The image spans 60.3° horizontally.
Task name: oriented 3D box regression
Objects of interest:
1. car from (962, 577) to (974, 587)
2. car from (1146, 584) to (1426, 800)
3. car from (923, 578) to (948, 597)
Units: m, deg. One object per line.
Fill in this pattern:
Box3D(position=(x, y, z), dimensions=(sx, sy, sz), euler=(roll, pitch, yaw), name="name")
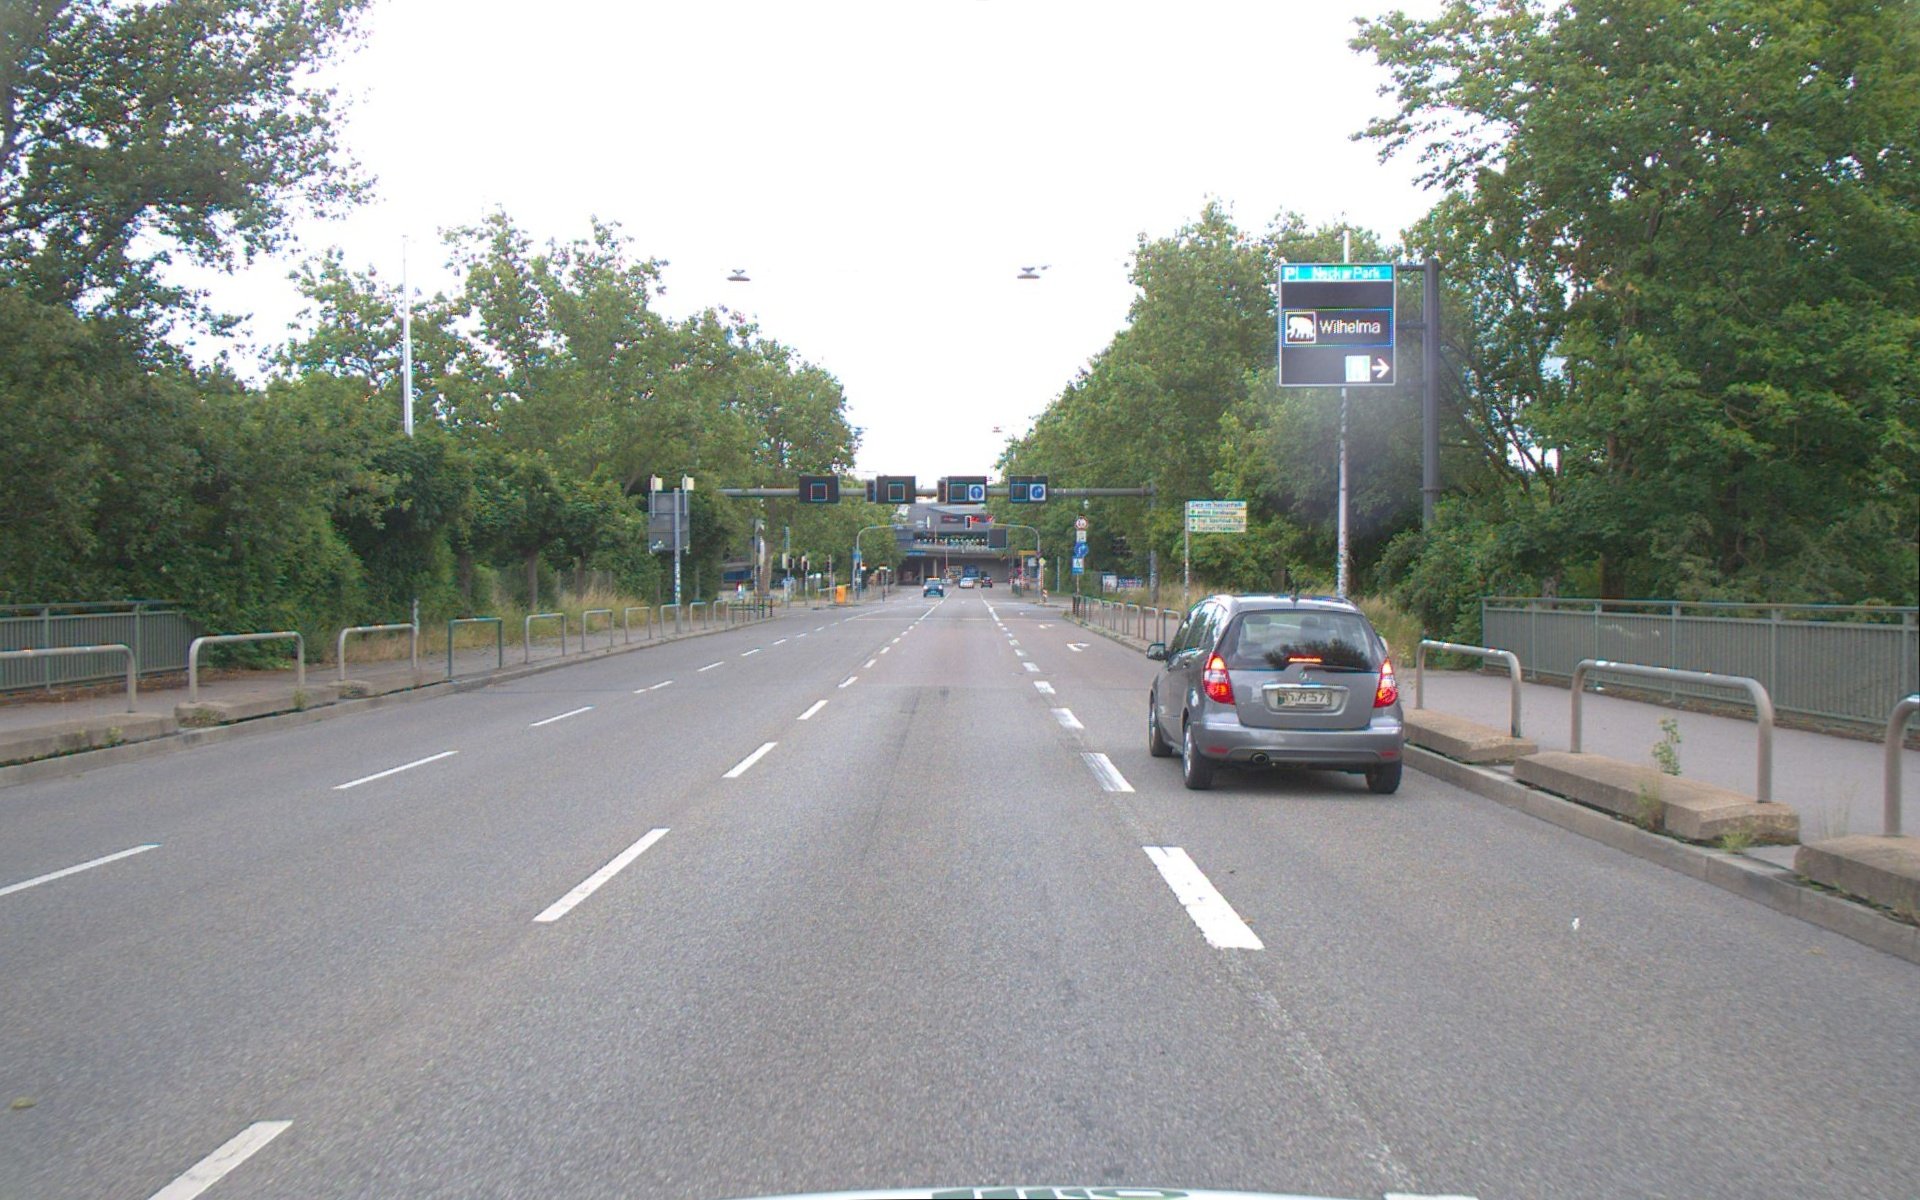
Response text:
Box3D(position=(1.180, -2.697, 252.896), dimensions=(1.741, 1.485, 3.823), euler=(2, 1, 1), name="car")
Box3D(position=(2.720, 0.688, 14.669), dimensions=(1.788, 1.644, 4.035), euler=(0, 0, 2), name="car")
Box3D(position=(-2.216, -1.181, 152.416), dimensions=(1.952, 1.689, 4.519), euler=(-2, 1, 3), name="car")
